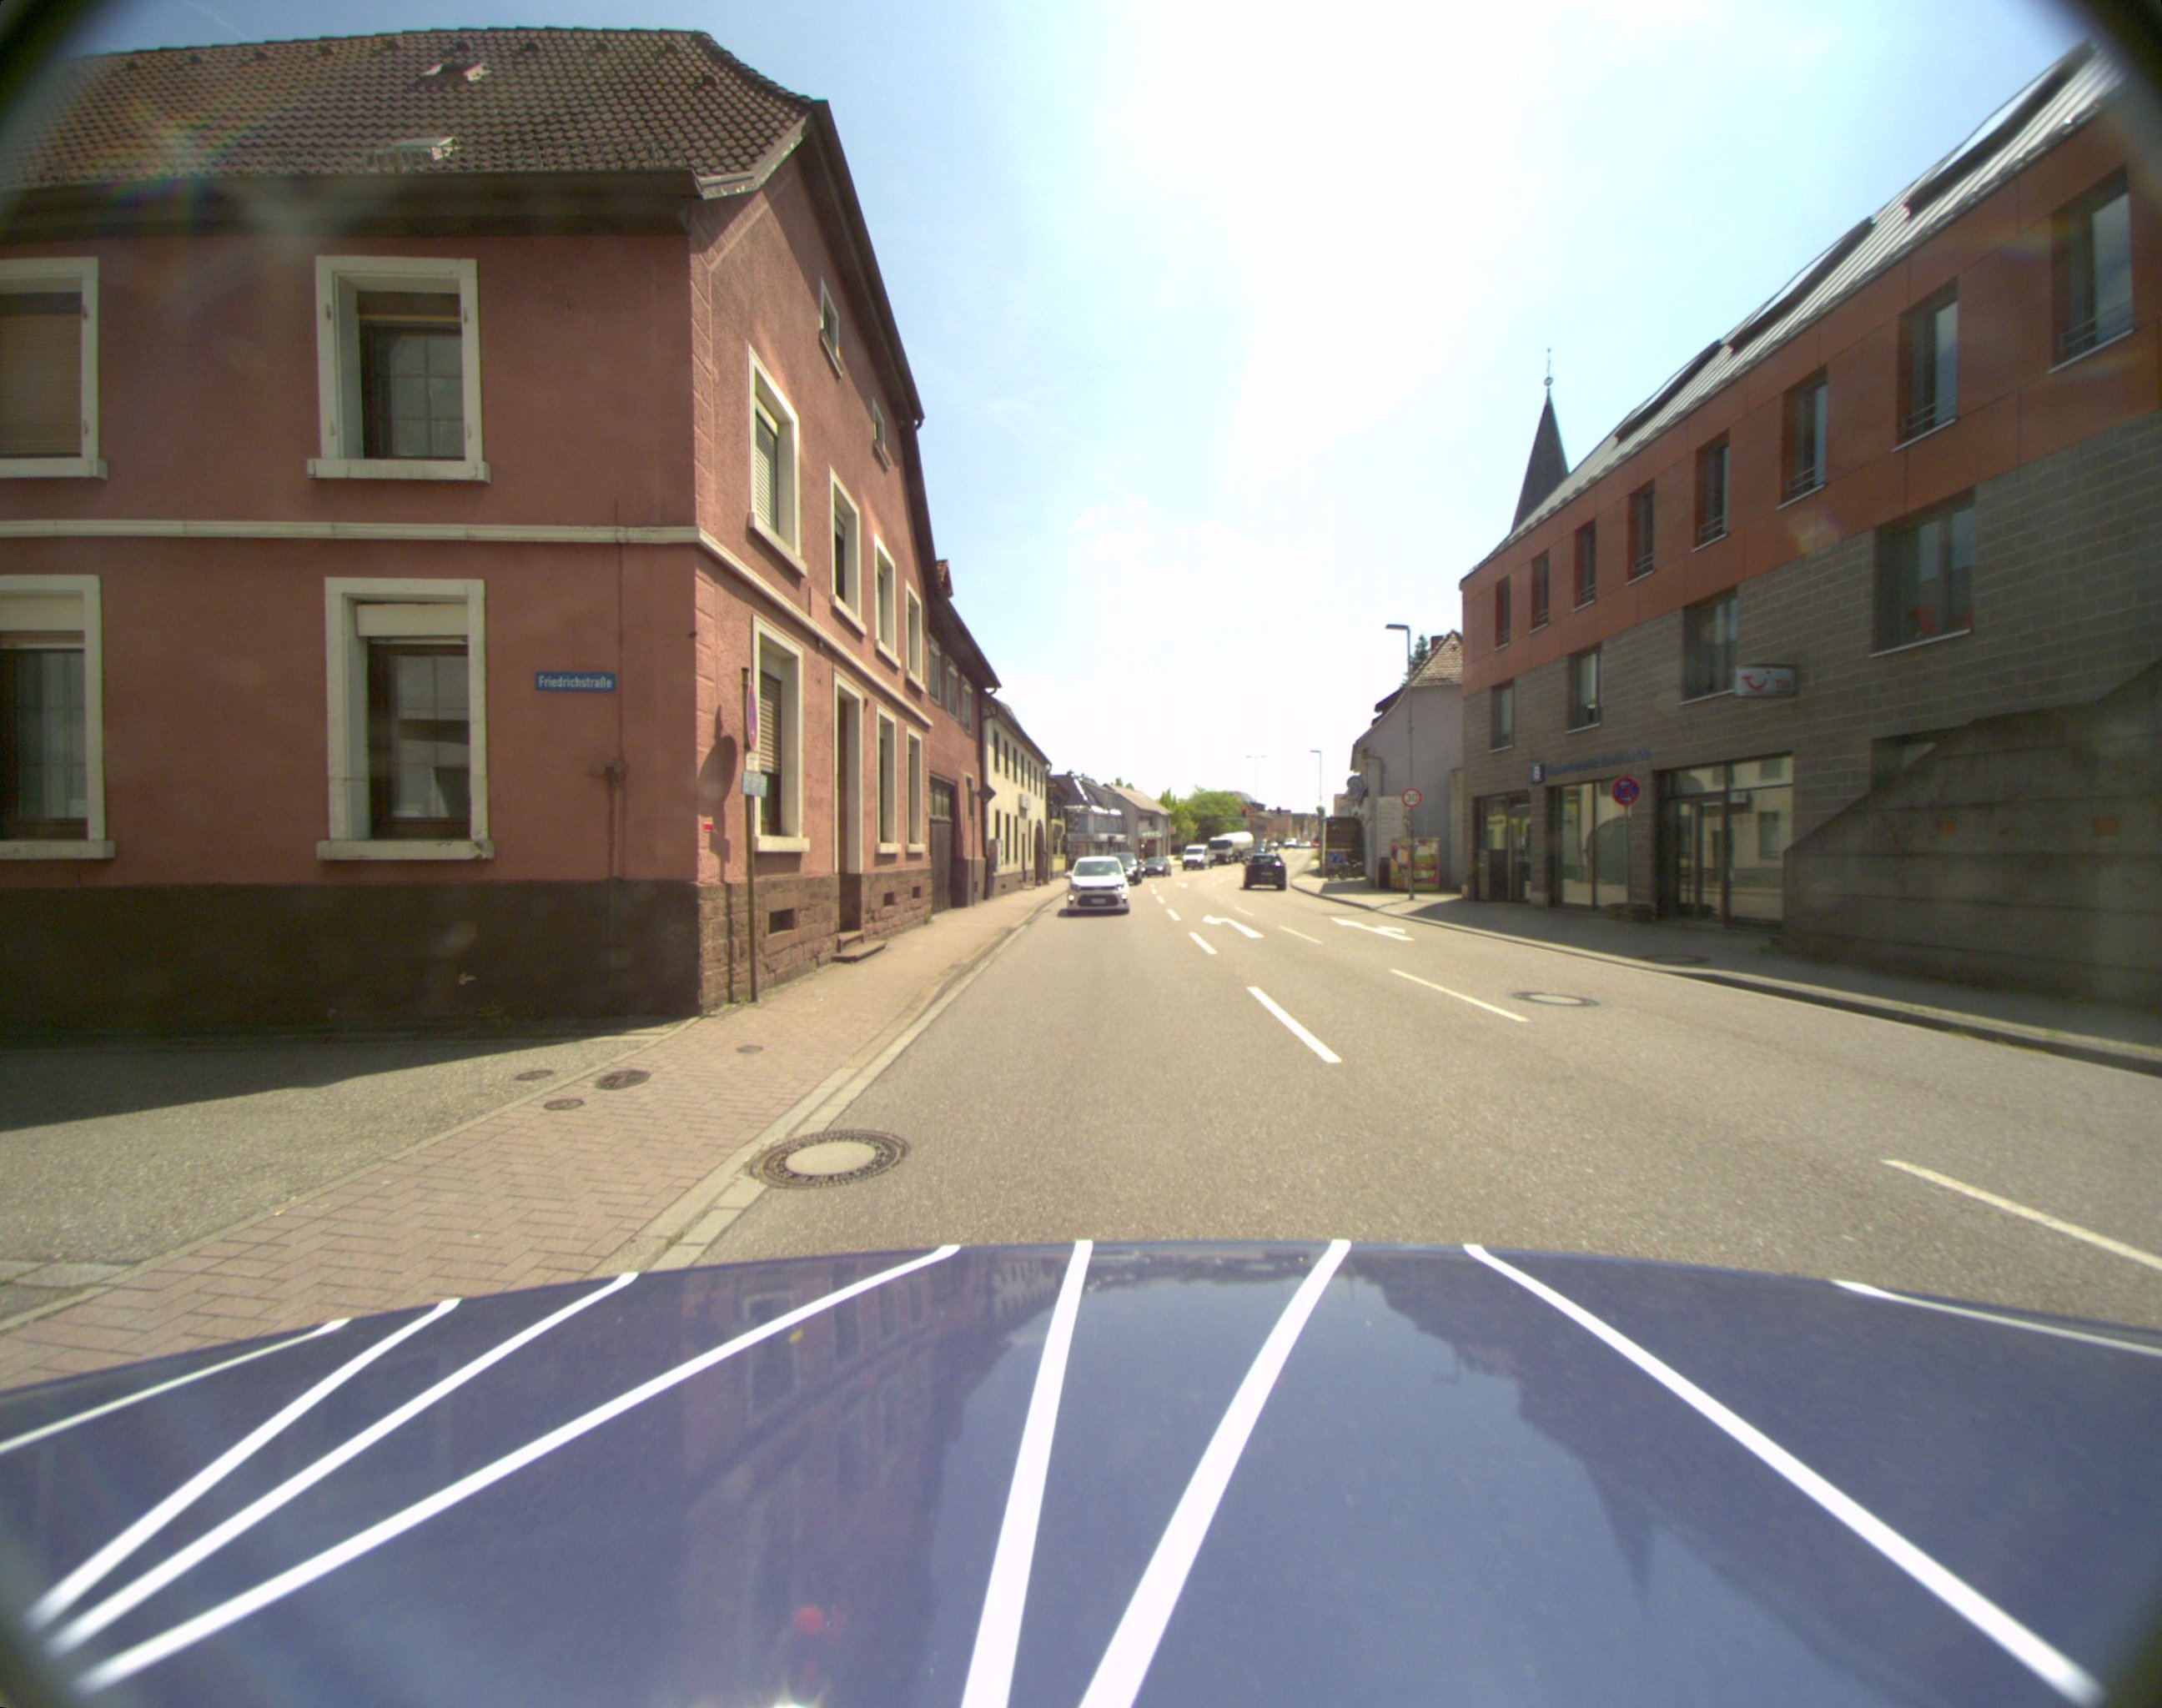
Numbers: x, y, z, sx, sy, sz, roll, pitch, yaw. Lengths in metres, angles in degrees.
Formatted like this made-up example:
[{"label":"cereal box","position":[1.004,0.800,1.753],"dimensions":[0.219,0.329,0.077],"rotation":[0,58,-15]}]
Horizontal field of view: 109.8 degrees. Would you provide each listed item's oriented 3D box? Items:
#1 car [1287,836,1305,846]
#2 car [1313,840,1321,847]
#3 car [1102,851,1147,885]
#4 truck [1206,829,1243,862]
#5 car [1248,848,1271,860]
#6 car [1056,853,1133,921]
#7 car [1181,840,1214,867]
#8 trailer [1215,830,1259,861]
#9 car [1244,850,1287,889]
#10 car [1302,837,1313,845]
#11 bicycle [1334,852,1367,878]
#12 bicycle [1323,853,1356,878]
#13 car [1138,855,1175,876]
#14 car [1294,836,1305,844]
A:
[{"label":"car","position":[38.065,-2.284,134.511],"dimensions":[2.007,1.621,4.586],"rotation":[0,1,31]},{"label":"car","position":[62.514,-2.806,201.312],"dimensions":[1.763,1.775,4.006],"rotation":[-1,1,21]},{"label":"car","position":[2.302,0.672,39.040],"dimensions":[1.723,1.541,4.306],"rotation":[-2,0,10]},{"label":"truck","position":[16.315,-0.934,86.318],"dimensions":[2.843,3.549,5.477],"rotation":[0,1,24]},{"label":"car","position":[24.689,-0.016,105.104],"dimensions":[2.008,1.621,4.586],"rotation":[0,0,27]},{"label":"car","position":[0.469,0.801,20.463],"dimensions":[1.724,1.541,4.304],"rotation":[-2,0,5]},{"label":"car","position":[11.370,-0.040,73.857],"dimensions":[2.172,2.549,4.831],"rotation":[0,1,20]},{"label":"trailer","position":[19.047,-1.048,92.380],"dimensions":[2.833,3.549,10.983],"rotation":[0,0,24]},{"label":"car","position":[8.119,0.642,33.693],"dimensions":[1.672,1.648,4.021],"rotation":[0,0,11]},{"label":"car","position":[51.709,-2.995,173.474],"dimensions":[2.008,1.621,4.585],"rotation":[0,0,24]},{"label":"bicycle","position":[14.110,0.590,39.775],"dimensions":[1.834,1.241,0.577],"rotation":[-3,-1,-34]},{"label":"bicycle","position":[13.691,0.599,40.274],"dimensions":[1.834,1.241,0.577],"rotation":[-3,-1,-34]},{"label":"car","position":[5.524,0.801,55.274],"dimensions":[1.927,1.358,4.308],"rotation":[-2,0,16]},{"label":"car","position":[44.913,-2.790,156.312],"dimensions":[2.008,1.621,4.584],"rotation":[0,0,19]}]
